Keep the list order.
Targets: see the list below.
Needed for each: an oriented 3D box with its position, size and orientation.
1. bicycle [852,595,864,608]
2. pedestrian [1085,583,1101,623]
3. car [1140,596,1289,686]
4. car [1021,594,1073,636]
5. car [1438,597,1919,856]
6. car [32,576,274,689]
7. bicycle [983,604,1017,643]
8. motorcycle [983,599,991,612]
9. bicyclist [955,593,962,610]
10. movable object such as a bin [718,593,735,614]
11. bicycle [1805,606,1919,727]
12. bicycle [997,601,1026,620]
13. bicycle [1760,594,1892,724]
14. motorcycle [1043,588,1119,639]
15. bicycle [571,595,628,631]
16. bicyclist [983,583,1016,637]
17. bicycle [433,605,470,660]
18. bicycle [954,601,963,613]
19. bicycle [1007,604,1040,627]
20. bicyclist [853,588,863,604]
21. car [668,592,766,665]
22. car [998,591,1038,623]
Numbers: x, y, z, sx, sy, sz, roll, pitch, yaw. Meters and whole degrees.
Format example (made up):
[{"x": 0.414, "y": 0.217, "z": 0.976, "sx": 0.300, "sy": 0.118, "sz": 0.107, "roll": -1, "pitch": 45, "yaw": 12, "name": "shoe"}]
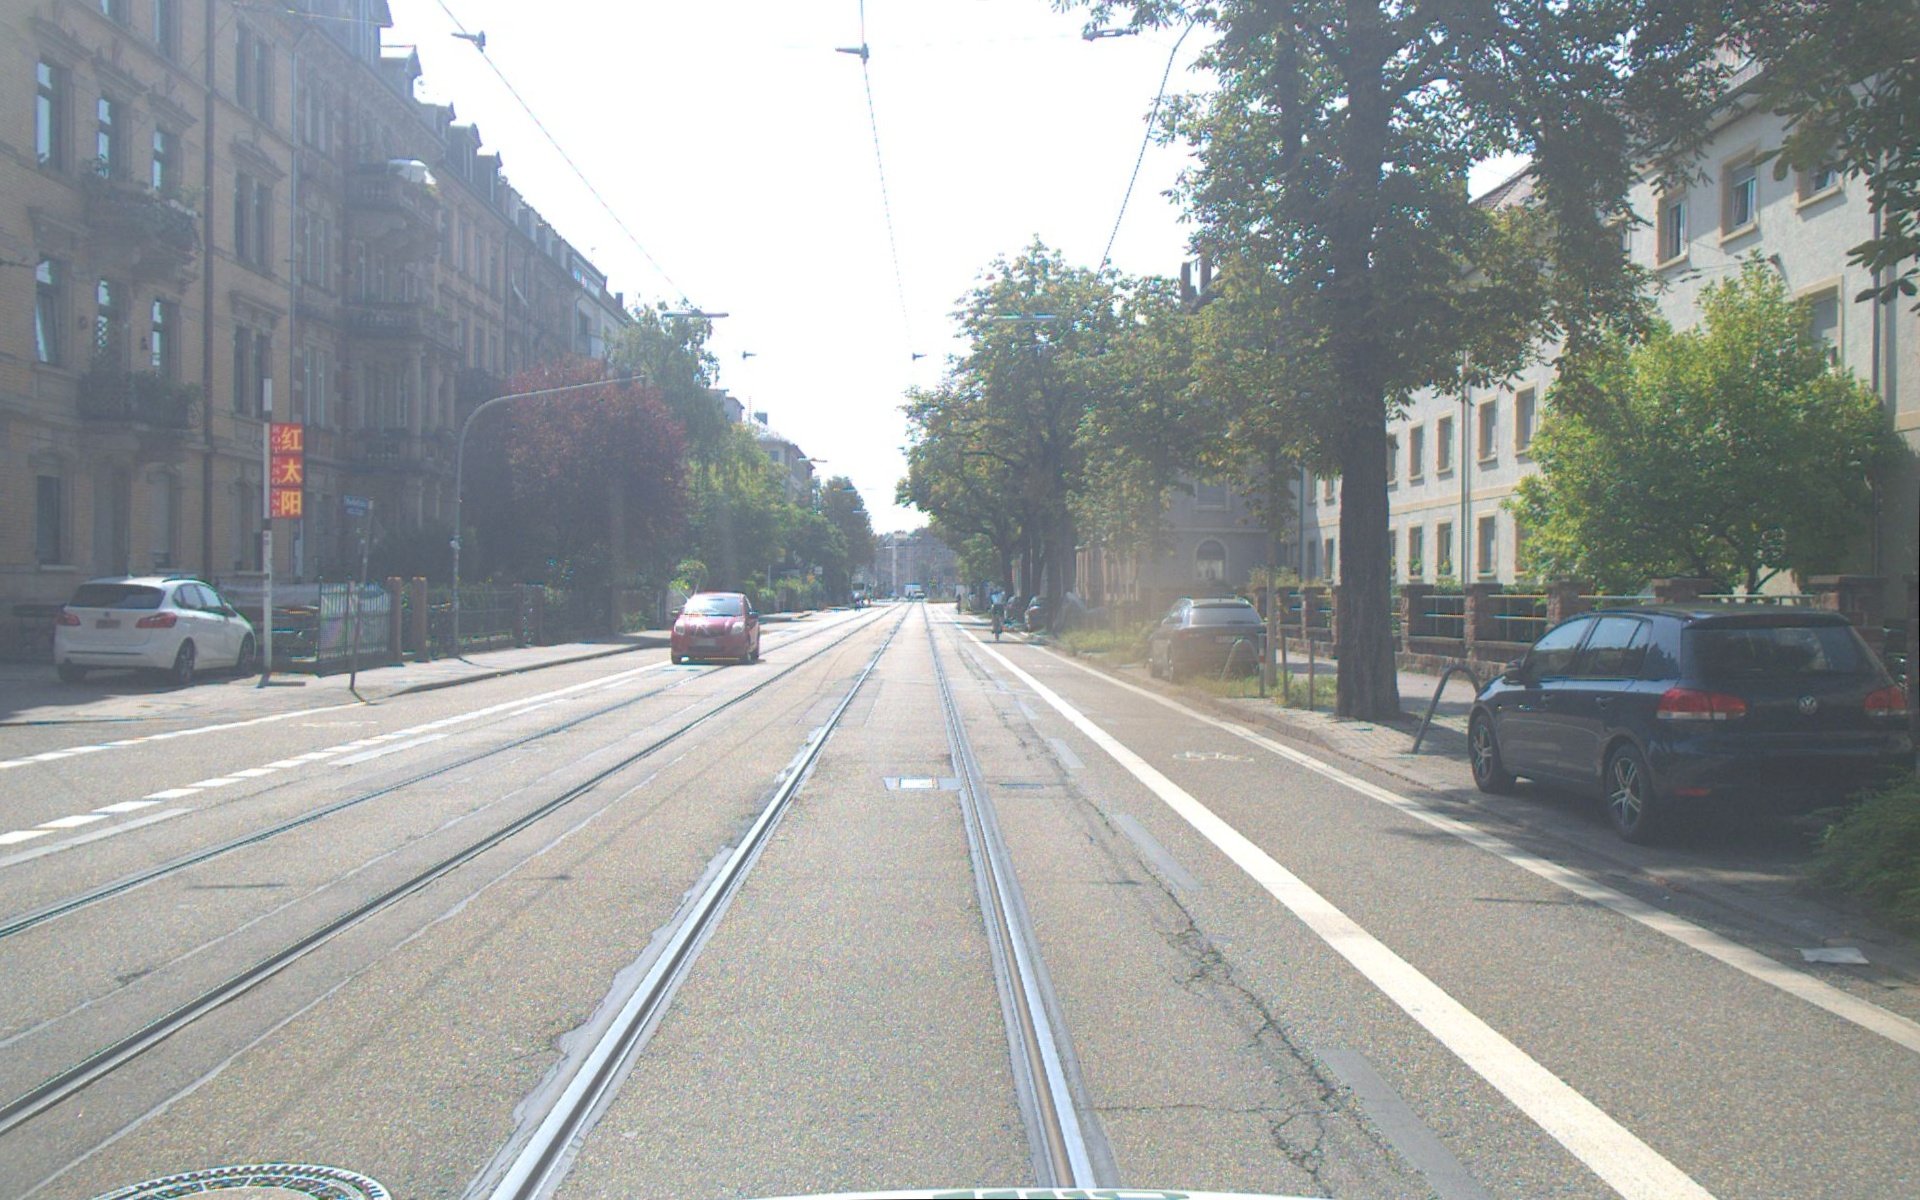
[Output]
[{"x": -8.616, "y": 0.132, "z": 140.204, "sx": 0.743, "sy": 1.008, "sz": 2.299, "roll": 0, "pitch": 0, "yaw": 3, "name": "bicycle"}, {"x": 6.487, "y": 0.148, "z": 80.711, "sx": 0.692, "sy": 1.925, "sz": 0.714, "roll": 0, "pitch": -1, "yaw": 0, "name": "pedestrian"}, {"x": 4.574, "y": 0.695, "z": 30.398, "sx": 1.854, "sy": 1.503, "sz": 4.838, "roll": 0, "pitch": 0, "yaw": -2, "name": "car"}, {"x": 3.582, "y": 0.604, "z": 68.714, "sx": 1.803, "sy": 1.559, "sz": 4.114, "roll": 0, "pitch": 2, "yaw": -2, "name": "car"}, {"x": 5.026, "y": 0.747, "z": 11.972, "sx": 1.720, "sy": 1.503, "sz": 4.384, "roll": 0, "pitch": 0, "yaw": -2, "name": "car"}, {"x": -12.500, "y": 0.456, "z": 25.962, "sx": 1.955, "sy": 1.622, "sz": 4.355, "roll": 0, "pitch": 0, "yaw": -5, "name": "car"}, {"x": 1.390, "y": 0.802, "z": 57.727, "sx": 1.124, "sy": 1.291, "sz": 2.712, "roll": 0, "pitch": 0, "yaw": 0, "name": "bicycle"}, {"x": 2.268, "y": 0.474, "z": 138.213, "sx": 0.538, "sy": 1.086, "sz": 2.330, "roll": 0, "pitch": 0, "yaw": -1, "name": "motorcycle"}, {"x": -0.109, "y": 0.128, "z": 125.352, "sx": 0.567, "sy": 1.301, "sz": 0.471, "roll": 0, "pitch": -1, "yaw": 1, "name": "bicyclist"}, {"x": -12.719, "y": 0.184, "z": 90.130, "sx": 0.770, "sy": 1.094, "sz": 0.803, "roll": 2, "pitch": 0, "yaw": 1, "name": "movable object such as a bin"}, {"x": 9.989, "y": 0.706, "z": 18.348, "sx": 0.394, "sy": 1.280, "sz": 1.580, "roll": 0, "pitch": 0, "yaw": -1, "name": "bicycle"}, {"x": 2.992, "y": 0.618, "z": 96.492, "sx": 1.678, "sy": 1.050, "sz": 0.566, "roll": 0, "pitch": 0, "yaw": -1, "name": "bicycle"}, {"x": 9.543, "y": 0.617, "z": 18.295, "sx": 0.446, "sy": 1.357, "sz": 1.891, "roll": 0, "pitch": 0, "yaw": -1, "name": "bicycle"}, {"x": 3.878, "y": 0.459, "z": 53.134, "sx": 2.302, "sy": 1.567, "sz": 0.964, "roll": -2, "pitch": -2, "yaw": 40, "name": "motorcycle"}, {"x": -12.559, "y": 0.445, "z": 57.682, "sx": 1.775, "sy": 1.202, "sz": 0.716, "roll": 2, "pitch": 0, "yaw": 0, "name": "bicycle"}, {"x": 1.382, "y": 0.347, "z": 57.796, "sx": 1.102, "sy": 1.869, "sz": 0.955, "roll": 0, "pitch": -1, "yaw": -1, "name": "bicyclist"}, {"x": -10.888, "y": 0.682, "z": 35.428, "sx": 0.382, "sy": 1.118, "sz": 1.567, "roll": 1, "pitch": 0, "yaw": -4, "name": "bicycle"}, {"x": -0.107, "y": 0.529, "z": 125.441, "sx": 0.576, "sy": 0.955, "sz": 2.172, "roll": 0, "pitch": 0, "yaw": 1, "name": "bicycle"}, {"x": 3.156, "y": 0.753, "z": 82.091, "sx": 1.572, "sy": 1.123, "sz": 0.399, "roll": 1, "pitch": 0, "yaw": 5, "name": "bicycle"}, {"x": -8.613, "y": -0.338, "z": 140.203, "sx": 0.743, "sy": 1.416, "sz": 0.779, "roll": 0, "pitch": -1, "yaw": 3, "name": "bicyclist"}, {"x": -5.325, "y": 0.586, "z": 36.692, "sx": 1.697, "sy": 1.516, "sz": 3.999, "roll": 0, "pitch": 1, "yaw": -2, "name": "car"}, {"x": 2.999, "y": 0.353, "z": 86.485, "sx": 1.803, "sy": 1.559, "sz": 4.778, "roll": -1, "pitch": 0, "yaw": -2, "name": "car"}]
